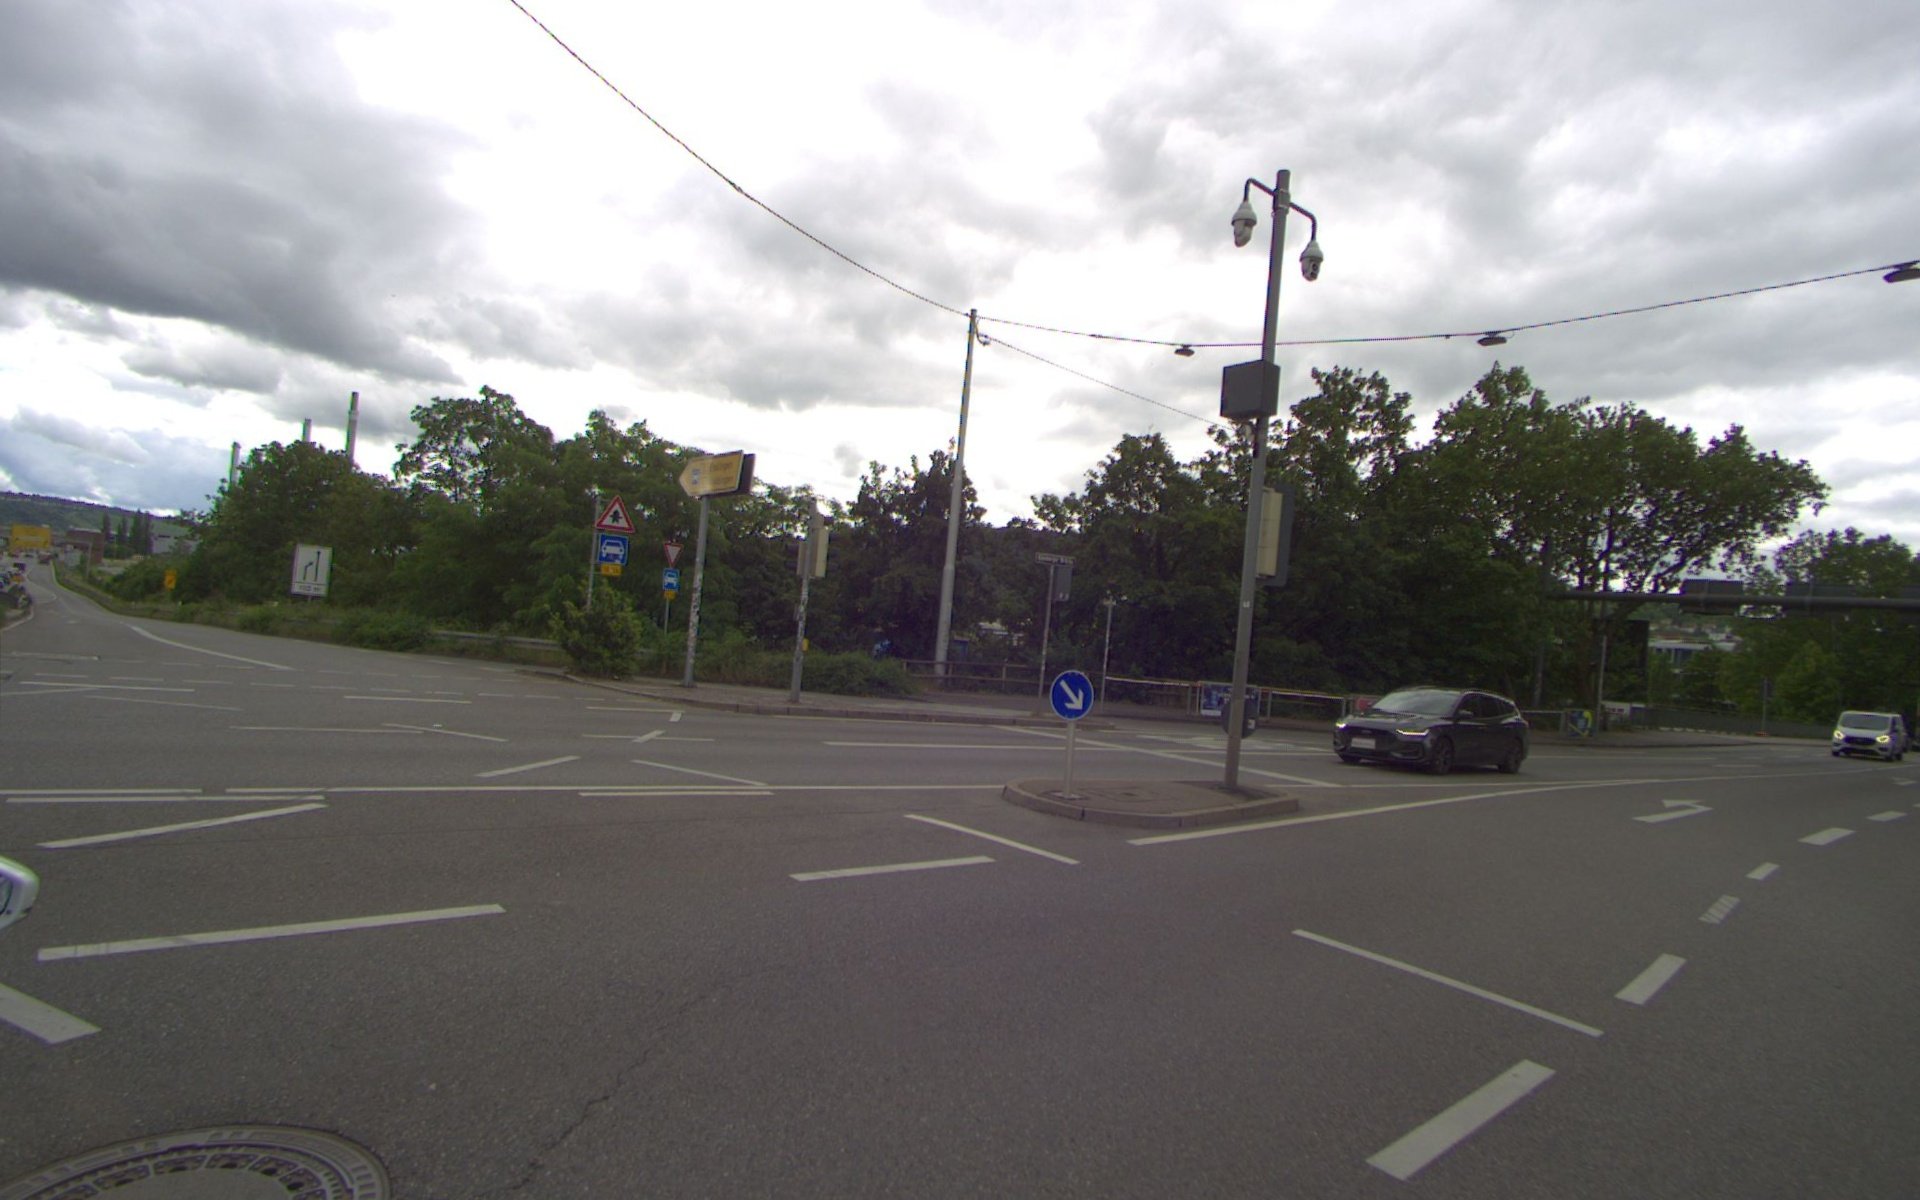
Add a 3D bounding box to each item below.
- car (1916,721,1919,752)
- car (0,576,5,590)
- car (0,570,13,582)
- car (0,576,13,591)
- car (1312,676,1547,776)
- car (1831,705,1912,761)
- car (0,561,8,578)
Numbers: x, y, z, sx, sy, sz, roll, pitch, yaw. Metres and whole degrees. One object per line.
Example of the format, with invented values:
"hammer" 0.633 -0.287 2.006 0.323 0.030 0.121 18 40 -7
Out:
"car" 58.863 7.936 59.715 4.910 2.555 2.307 7 0 -40
"car" -131.138 -2.388 136.650 1.987 1.757 3.950 5 -3 -44
"car" -163.117 -4.065 171.331 2.523 1.924 4.825 5 -3 -44
"car" -143.394 -2.467 150.781 1.987 2.038 3.953 5 -3 -44
"car" 8.458 2.221 17.977 4.412 1.437 1.917 6 -2 -37
"car" 39.499 5.769 43.562 4.421 2.022 1.913 8 -2 -40
"car" -154.619 -4.902 161.727 1.987 2.653 5.336 5 -2 -44
